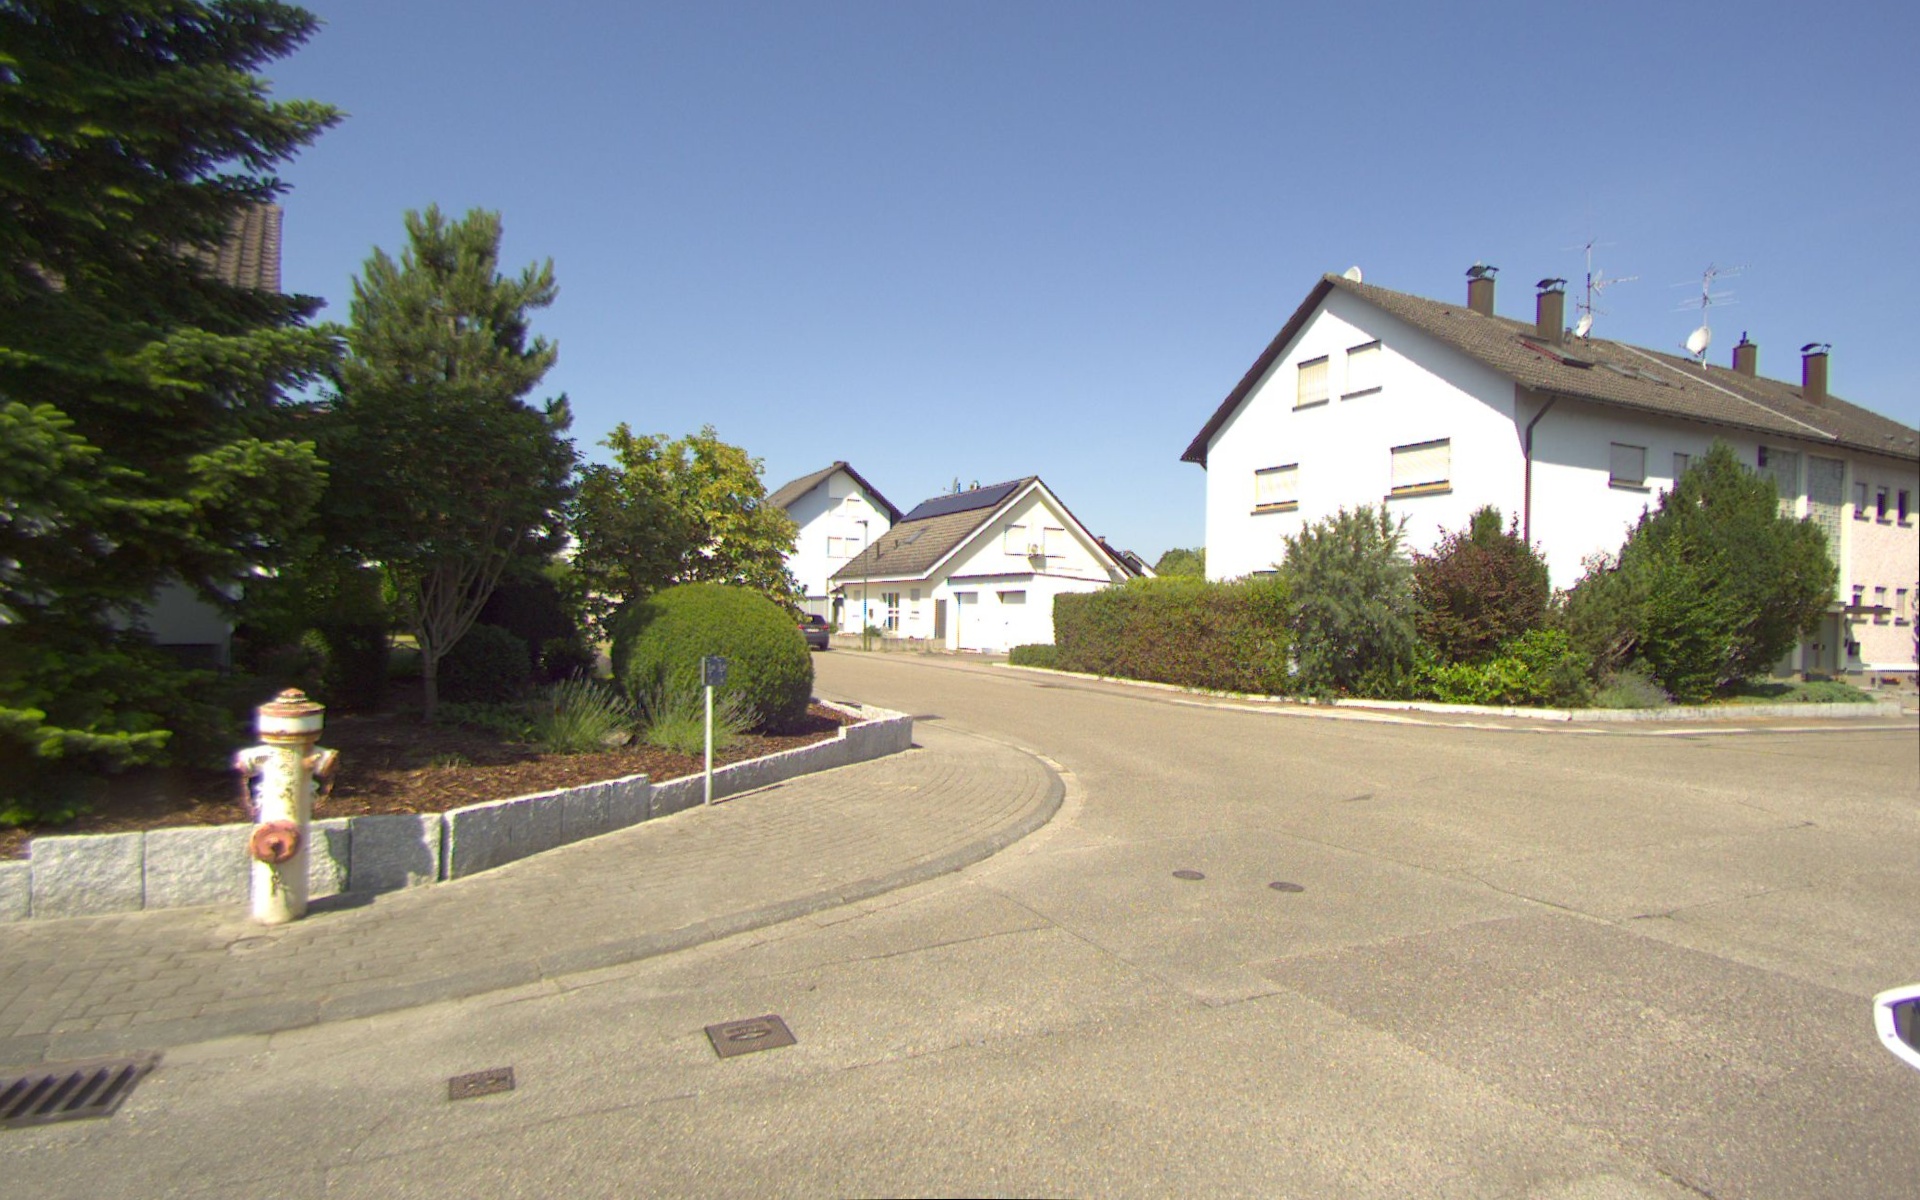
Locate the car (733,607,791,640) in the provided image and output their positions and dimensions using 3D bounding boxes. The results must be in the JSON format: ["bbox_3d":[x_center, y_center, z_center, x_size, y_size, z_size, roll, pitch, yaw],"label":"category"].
[{"bbox_3d":[-9.338,1.066,47.223,1.699,1.457,4.476,1,-1,-24],"label":"car"}]

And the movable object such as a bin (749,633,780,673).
[{"bbox_3d":[-4.742,1.274,24.359,0.577,0.928,0.594,2,-1,-25],"label":"movable object such as a bin"}]

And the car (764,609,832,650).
[{"bbox_3d":[-6.792,1.208,41.831,1.626,1.498,3.973,3,-1,-26],"label":"car"}]
